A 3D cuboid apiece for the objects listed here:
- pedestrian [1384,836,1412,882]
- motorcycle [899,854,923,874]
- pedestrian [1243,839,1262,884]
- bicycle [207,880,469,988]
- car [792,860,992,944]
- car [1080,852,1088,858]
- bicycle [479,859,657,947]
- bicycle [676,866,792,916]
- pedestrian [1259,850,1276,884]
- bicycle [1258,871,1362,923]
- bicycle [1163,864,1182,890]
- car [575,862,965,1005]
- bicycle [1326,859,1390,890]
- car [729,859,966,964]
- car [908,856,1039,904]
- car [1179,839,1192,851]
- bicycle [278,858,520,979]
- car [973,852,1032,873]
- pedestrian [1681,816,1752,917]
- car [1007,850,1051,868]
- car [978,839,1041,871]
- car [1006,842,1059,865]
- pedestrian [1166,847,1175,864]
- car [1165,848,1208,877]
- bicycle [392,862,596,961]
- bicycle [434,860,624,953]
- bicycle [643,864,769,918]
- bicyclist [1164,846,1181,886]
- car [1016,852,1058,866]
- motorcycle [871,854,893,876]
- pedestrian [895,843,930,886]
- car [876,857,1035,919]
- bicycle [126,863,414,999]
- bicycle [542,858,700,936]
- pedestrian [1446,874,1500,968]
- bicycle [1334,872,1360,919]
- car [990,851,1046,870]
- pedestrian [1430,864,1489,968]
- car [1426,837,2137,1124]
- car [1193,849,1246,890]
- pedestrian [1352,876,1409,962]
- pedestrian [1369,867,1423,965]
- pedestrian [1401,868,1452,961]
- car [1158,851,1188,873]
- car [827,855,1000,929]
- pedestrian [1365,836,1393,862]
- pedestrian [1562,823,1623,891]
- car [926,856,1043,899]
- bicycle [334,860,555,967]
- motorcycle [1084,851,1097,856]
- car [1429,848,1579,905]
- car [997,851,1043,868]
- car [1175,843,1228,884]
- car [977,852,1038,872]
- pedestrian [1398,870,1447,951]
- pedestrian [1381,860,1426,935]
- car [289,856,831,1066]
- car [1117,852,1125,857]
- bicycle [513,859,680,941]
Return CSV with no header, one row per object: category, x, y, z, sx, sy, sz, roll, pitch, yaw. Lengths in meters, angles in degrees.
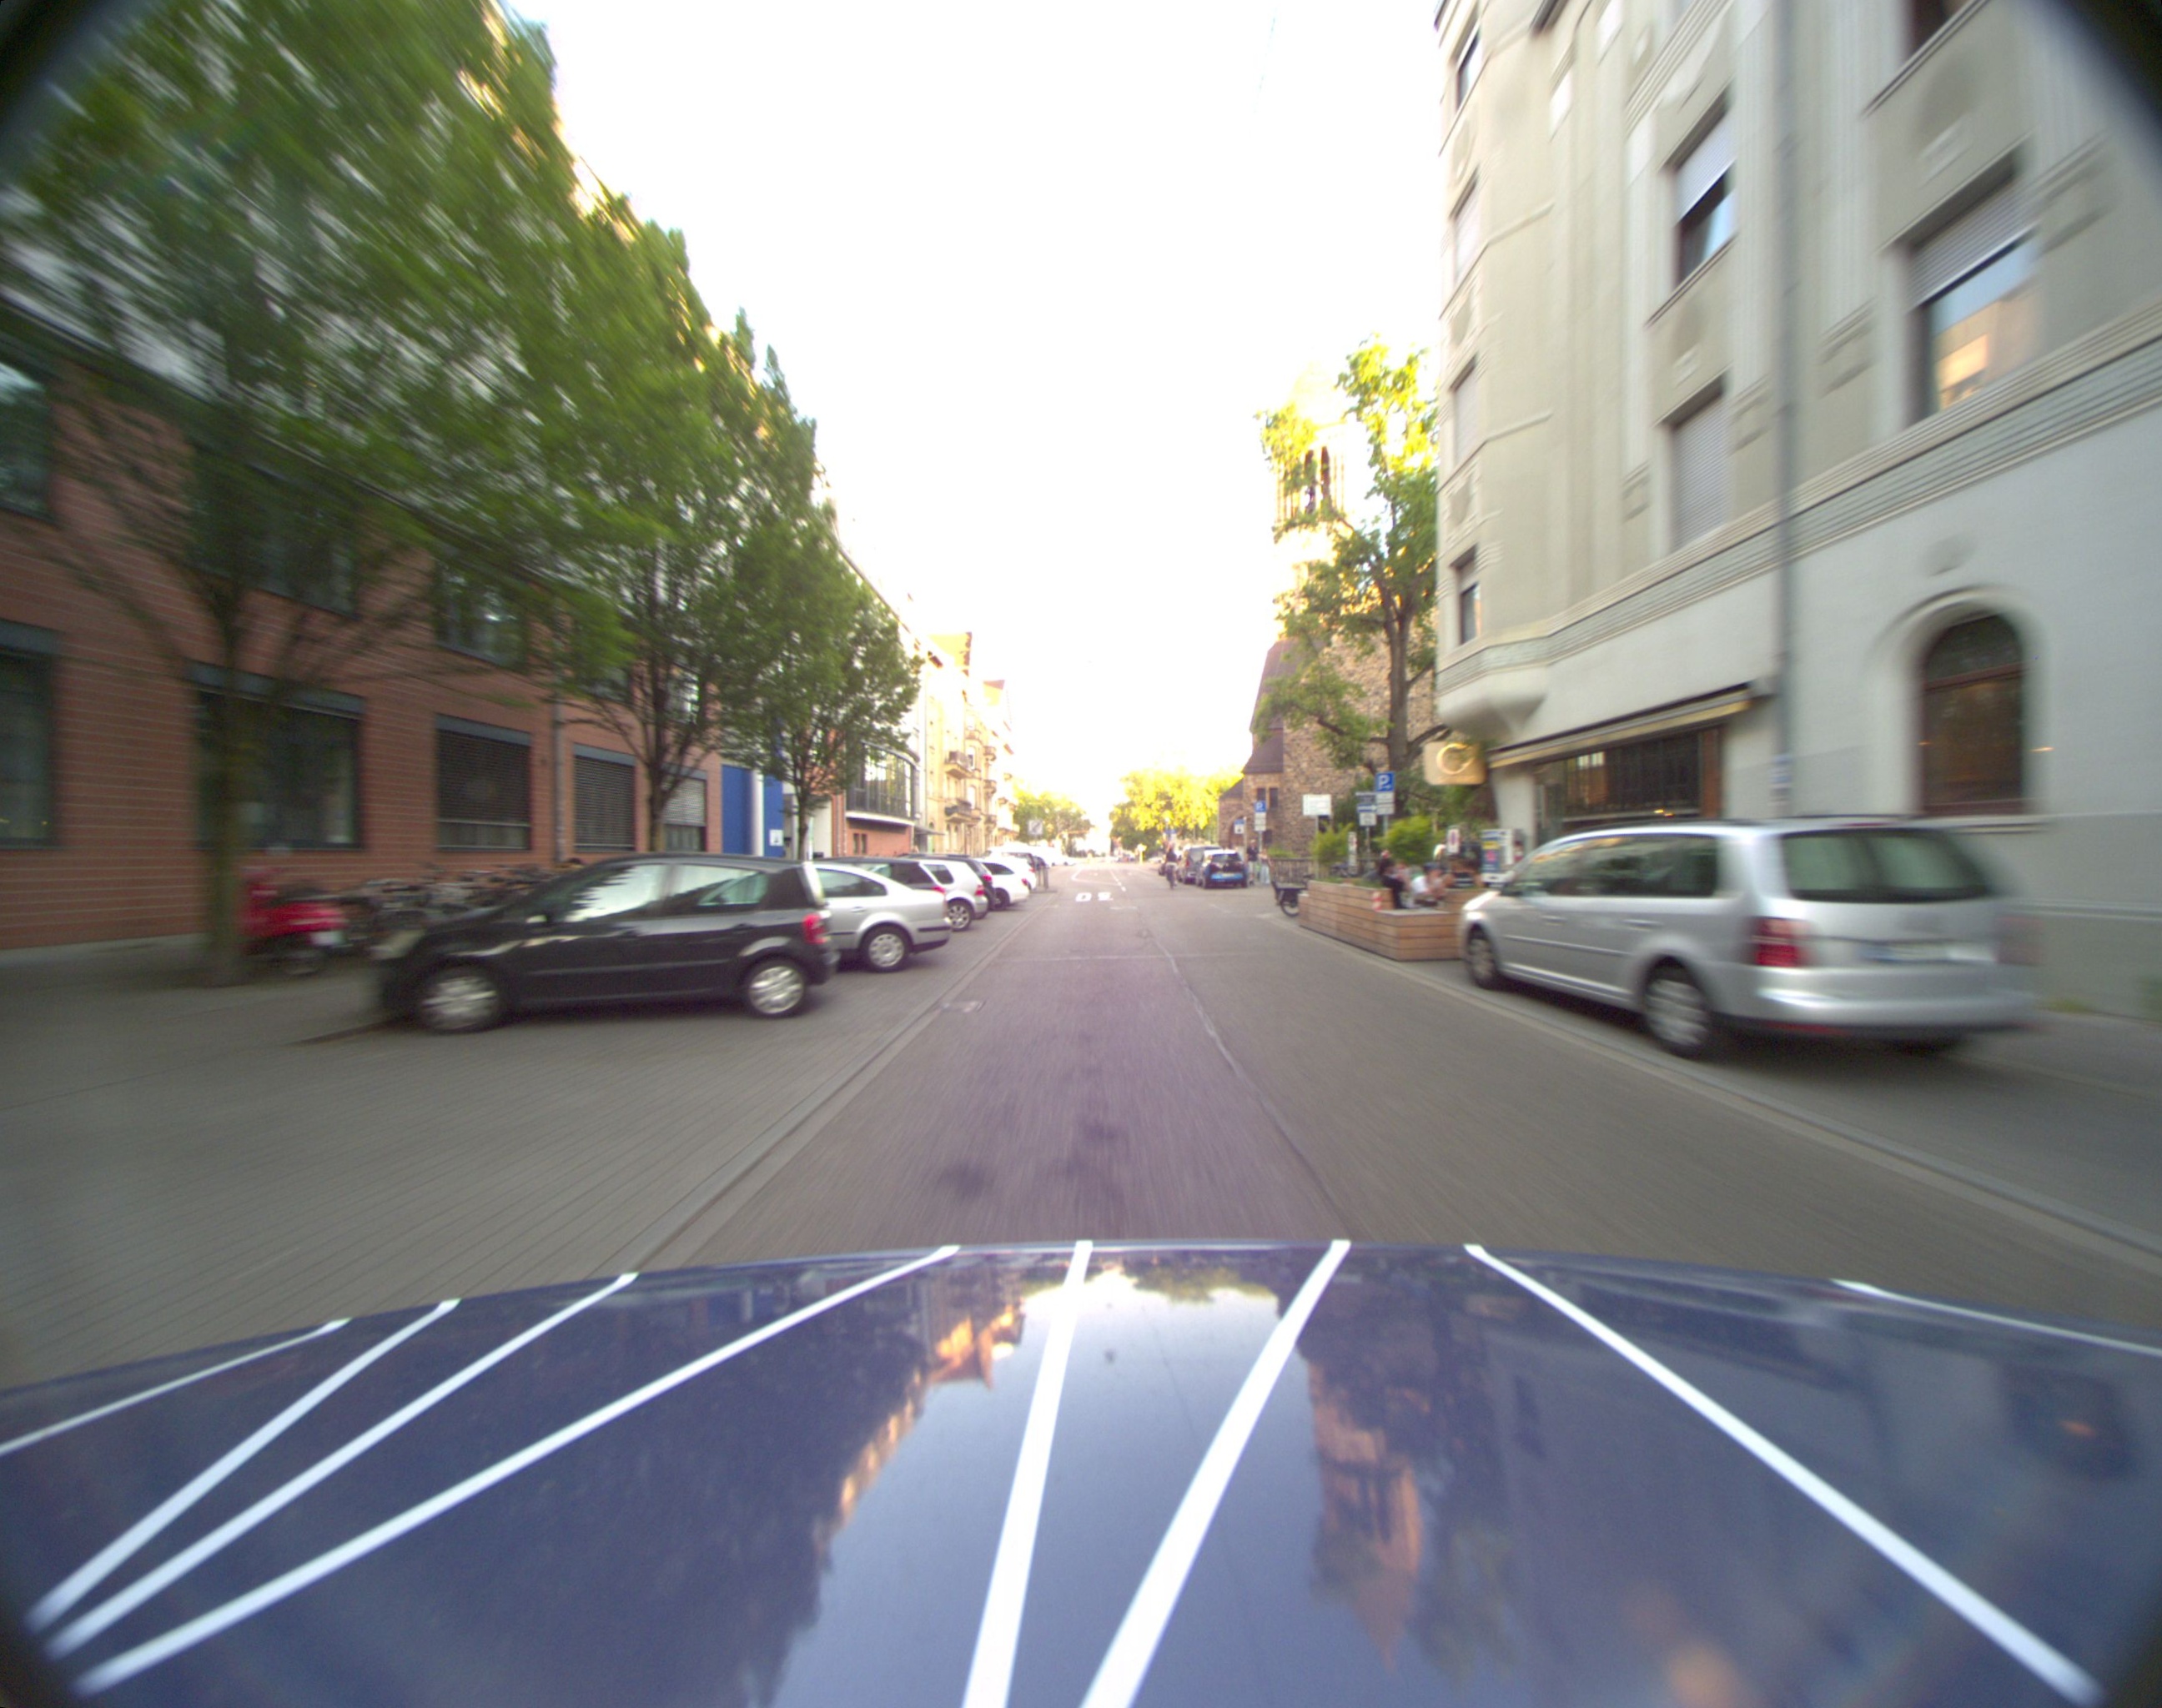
pedestrian,11.911,0.193,28.541,0.708,1.711,0.837,0,1,0
motorcycle,-10.010,0.554,44.891,0.802,1.133,2.440,2,0,1
pedestrian,7.288,0.310,32.303,0.583,1.894,0.803,0,1,-2
bicycle,-8.591,0.901,8.816,2.540,1.016,0.599,4,1,4
car,-3.781,0.879,15.253,3.610,1.473,1.719,0,1,-26
car,0.918,0.313,217.757,1.794,1.571,4.001,0,0,5
bicycle,-8.333,0.783,12.375,2.540,1.371,0.599,0,1,4
bicycle,-8.256,0.866,18.109,2.540,1.160,0.562,0,1,4
pedestrian,7.939,0.540,32.352,0.533,1.397,0.659,-2,1,2
bicycle,4.970,0.922,16.545,2.111,1.088,0.502,-1,-1,26
bicycle,3.849,0.941,32.114,0.616,1.034,1.904,0,0,1
car,-3.921,0.902,10.114,4.392,1.525,1.804,0,1,-23
bicycle,10.249,0.763,28.128,2.144,1.127,0.555,0,1,2
car,-3.917,0.869,12.814,3.610,1.525,1.559,0,1,-27
car,-3.657,0.824,25.979,4.007,1.464,1.870,0,2,-31
car,18.586,-1.612,134.981,1.865,2.002,3.815,0,0,16
bicycle,-8.499,0.780,9.506,2.540,1.237,0.599,5,1,4
car,-5.954,0.636,57.419,4.076,1.483,1.720,-1,1,-29
pedestrian,8.705,0.167,10.419,0.540,1.342,0.518,-1,1,2
car,-5.229,0.508,76.549,4.107,1.598,1.811,2,1,-36
car,-5.877,0.061,62.434,4.732,2.532,1.914,-1,1,-28
car,-5.629,-0.037,88.358,5.897,2.537,2.189,1,2,-39
pedestrian,8.802,0.159,74.930,0.716,1.715,0.691,0,1,-8
car,6.081,0.466,44.424,1.876,1.582,4.468,0,0,0
bicycle,-8.434,0.815,10.953,2.540,1.371,0.599,0,1,4
bicycle,-8.428,0.789,11.642,2.540,1.371,0.599,0,1,4
bicycle,-8.291,0.806,16.817,2.540,1.160,0.562,0,1,4
bicyclist,3.843,0.492,32.041,0.604,1.675,1.142,0,1,2
car,-4.978,0.559,85.630,4.263,1.445,1.994,1,1,-37
motorcycle,-10.309,0.546,39.424,0.589,1.097,2.083,2,0,-2
pedestrian,-8.214,0.501,37.060,0.608,2.002,0.857,29,3,2
car,-3.426,0.869,20.906,4.006,1.528,1.632,0,0,-29
bicycle,-8.599,0.795,8.098,2.540,1.371,0.599,0,1,4
bicycle,-8.340,0.775,13.812,2.540,1.371,0.599,0,1,4
pedestrian,5.822,0.978,11.300,0.469,1.342,0.611,-1,1,0
bicycle,6.091,0.936,17.421,0.424,1.006,1.721,-1,-1,15
car,-5.396,0.541,65.358,4.406,1.478,1.839,2,0,-29
pedestrian,5.104,0.817,10.263,0.518,1.342,0.540,-1,1,-1
car,4.840,0.693,6.352,1.998,1.582,4.314,0,0,1
car,5.751,0.620,31.946,1.644,1.546,4.005,-3,0,4
pedestrian,4.861,1.039,12.350,0.610,1.317,0.770,-1,1,0
pedestrian,4.519,0.872,10.937,0.485,1.342,0.669,-1,1,0
pedestrian,5.182,0.895,11.413,0.469,1.342,0.611,-1,1,0
car,6.293,0.528,52.369,1.787,1.427,4.316,0,0,3
car,-3.925,0.812,17.901,3.611,1.571,1.712,0,1,-32
pedestrian,11.156,-0.187,28.486,0.708,0.975,0.837,0,1,0
pedestrian,8.907,0.053,13.241,0.558,1.147,0.748,-1,1,0
car,-3.618,0.835,28.602,4.006,1.498,1.766,0,1,-28
bicycle,-8.497,0.775,10.188,2.540,1.371,0.599,0,1,4
motorcycle,1.740,-0.108,139.868,2.288,0.917,0.622,0,0,-24
car,14.145,0.717,25.618,3.995,1.833,1.891,0,1,5
car,-5.879,0.565,73.493,4.066,1.489,1.749,2,1,-34
car,5.820,0.439,37.377,1.998,1.855,5.290,-1,0,3
car,-5.765,0.628,59.915,4.363,1.494,1.909,-1,1,-26
pedestrian,5.844,0.951,13.033,0.538,1.317,0.705,-1,1,2
pedestrian,5.914,0.780,13.956,0.538,1.317,0.705,-1,1,2
car,-4.549,0.856,7.388,4.003,1.627,1.756,0,0,-18
car,11.216,0.143,212.828,1.827,1.565,4.001,-1,0,6
bicycle,-8.332,0.780,13.097,2.540,1.371,0.599,0,1,4
